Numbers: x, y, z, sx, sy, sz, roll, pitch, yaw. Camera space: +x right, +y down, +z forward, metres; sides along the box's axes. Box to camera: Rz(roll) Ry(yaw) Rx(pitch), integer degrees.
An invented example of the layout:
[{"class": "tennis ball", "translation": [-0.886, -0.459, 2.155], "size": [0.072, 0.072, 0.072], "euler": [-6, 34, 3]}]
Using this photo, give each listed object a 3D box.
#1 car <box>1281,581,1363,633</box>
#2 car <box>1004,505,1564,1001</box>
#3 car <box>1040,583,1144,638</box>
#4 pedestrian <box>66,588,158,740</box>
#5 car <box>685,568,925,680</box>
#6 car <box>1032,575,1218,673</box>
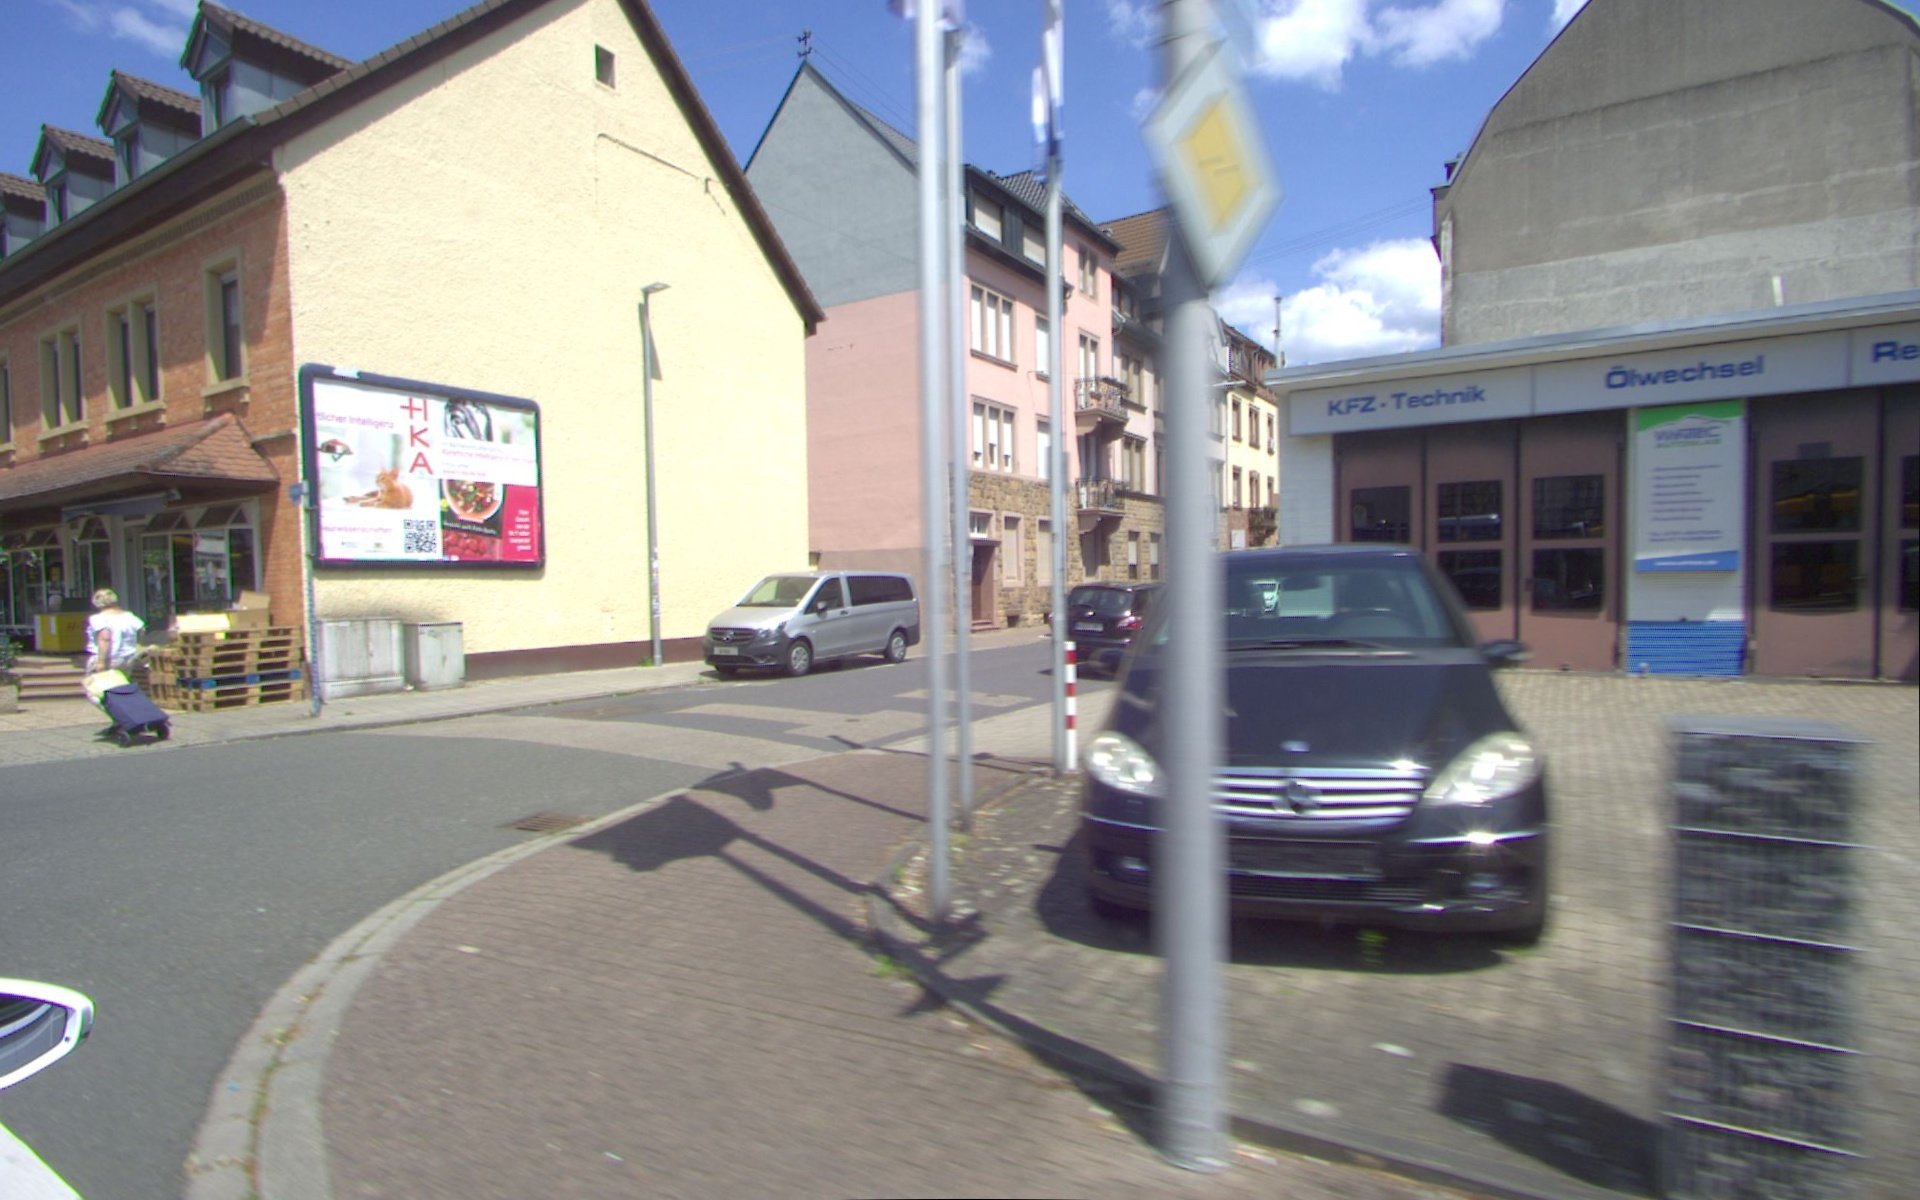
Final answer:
[{"class": "car", "translation": [11.545, 0.263, 31.777], "size": [1.627, 1.527, 3.979], "euler": [-2, -2, 32]}, {"class": "car", "translation": [1.693, 0.480, 5.280], "size": [1.810, 1.563, 3.879], "euler": [-1, 0, 20]}, {"class": "car", "translation": [4.108, 0.351, 30.589], "size": [1.627, 1.527, 3.979], "euler": [-2, -2, 32]}, {"class": "pedestrian", "translation": [-9.778, 0.708, 11.578], "size": [0.698, 1.664, 0.654], "euler": [-3, 4, -37]}, {"class": "car", "translation": [-2.812, 0.376, 19.477], "size": [1.880, 1.886, 5.046], "euler": [-1, 1, 29]}, {"class": "car", "translation": [3.074, 0.361, 18.071], "size": [1.818, 1.563, 3.864], "euler": [-1, 1, 35]}]
